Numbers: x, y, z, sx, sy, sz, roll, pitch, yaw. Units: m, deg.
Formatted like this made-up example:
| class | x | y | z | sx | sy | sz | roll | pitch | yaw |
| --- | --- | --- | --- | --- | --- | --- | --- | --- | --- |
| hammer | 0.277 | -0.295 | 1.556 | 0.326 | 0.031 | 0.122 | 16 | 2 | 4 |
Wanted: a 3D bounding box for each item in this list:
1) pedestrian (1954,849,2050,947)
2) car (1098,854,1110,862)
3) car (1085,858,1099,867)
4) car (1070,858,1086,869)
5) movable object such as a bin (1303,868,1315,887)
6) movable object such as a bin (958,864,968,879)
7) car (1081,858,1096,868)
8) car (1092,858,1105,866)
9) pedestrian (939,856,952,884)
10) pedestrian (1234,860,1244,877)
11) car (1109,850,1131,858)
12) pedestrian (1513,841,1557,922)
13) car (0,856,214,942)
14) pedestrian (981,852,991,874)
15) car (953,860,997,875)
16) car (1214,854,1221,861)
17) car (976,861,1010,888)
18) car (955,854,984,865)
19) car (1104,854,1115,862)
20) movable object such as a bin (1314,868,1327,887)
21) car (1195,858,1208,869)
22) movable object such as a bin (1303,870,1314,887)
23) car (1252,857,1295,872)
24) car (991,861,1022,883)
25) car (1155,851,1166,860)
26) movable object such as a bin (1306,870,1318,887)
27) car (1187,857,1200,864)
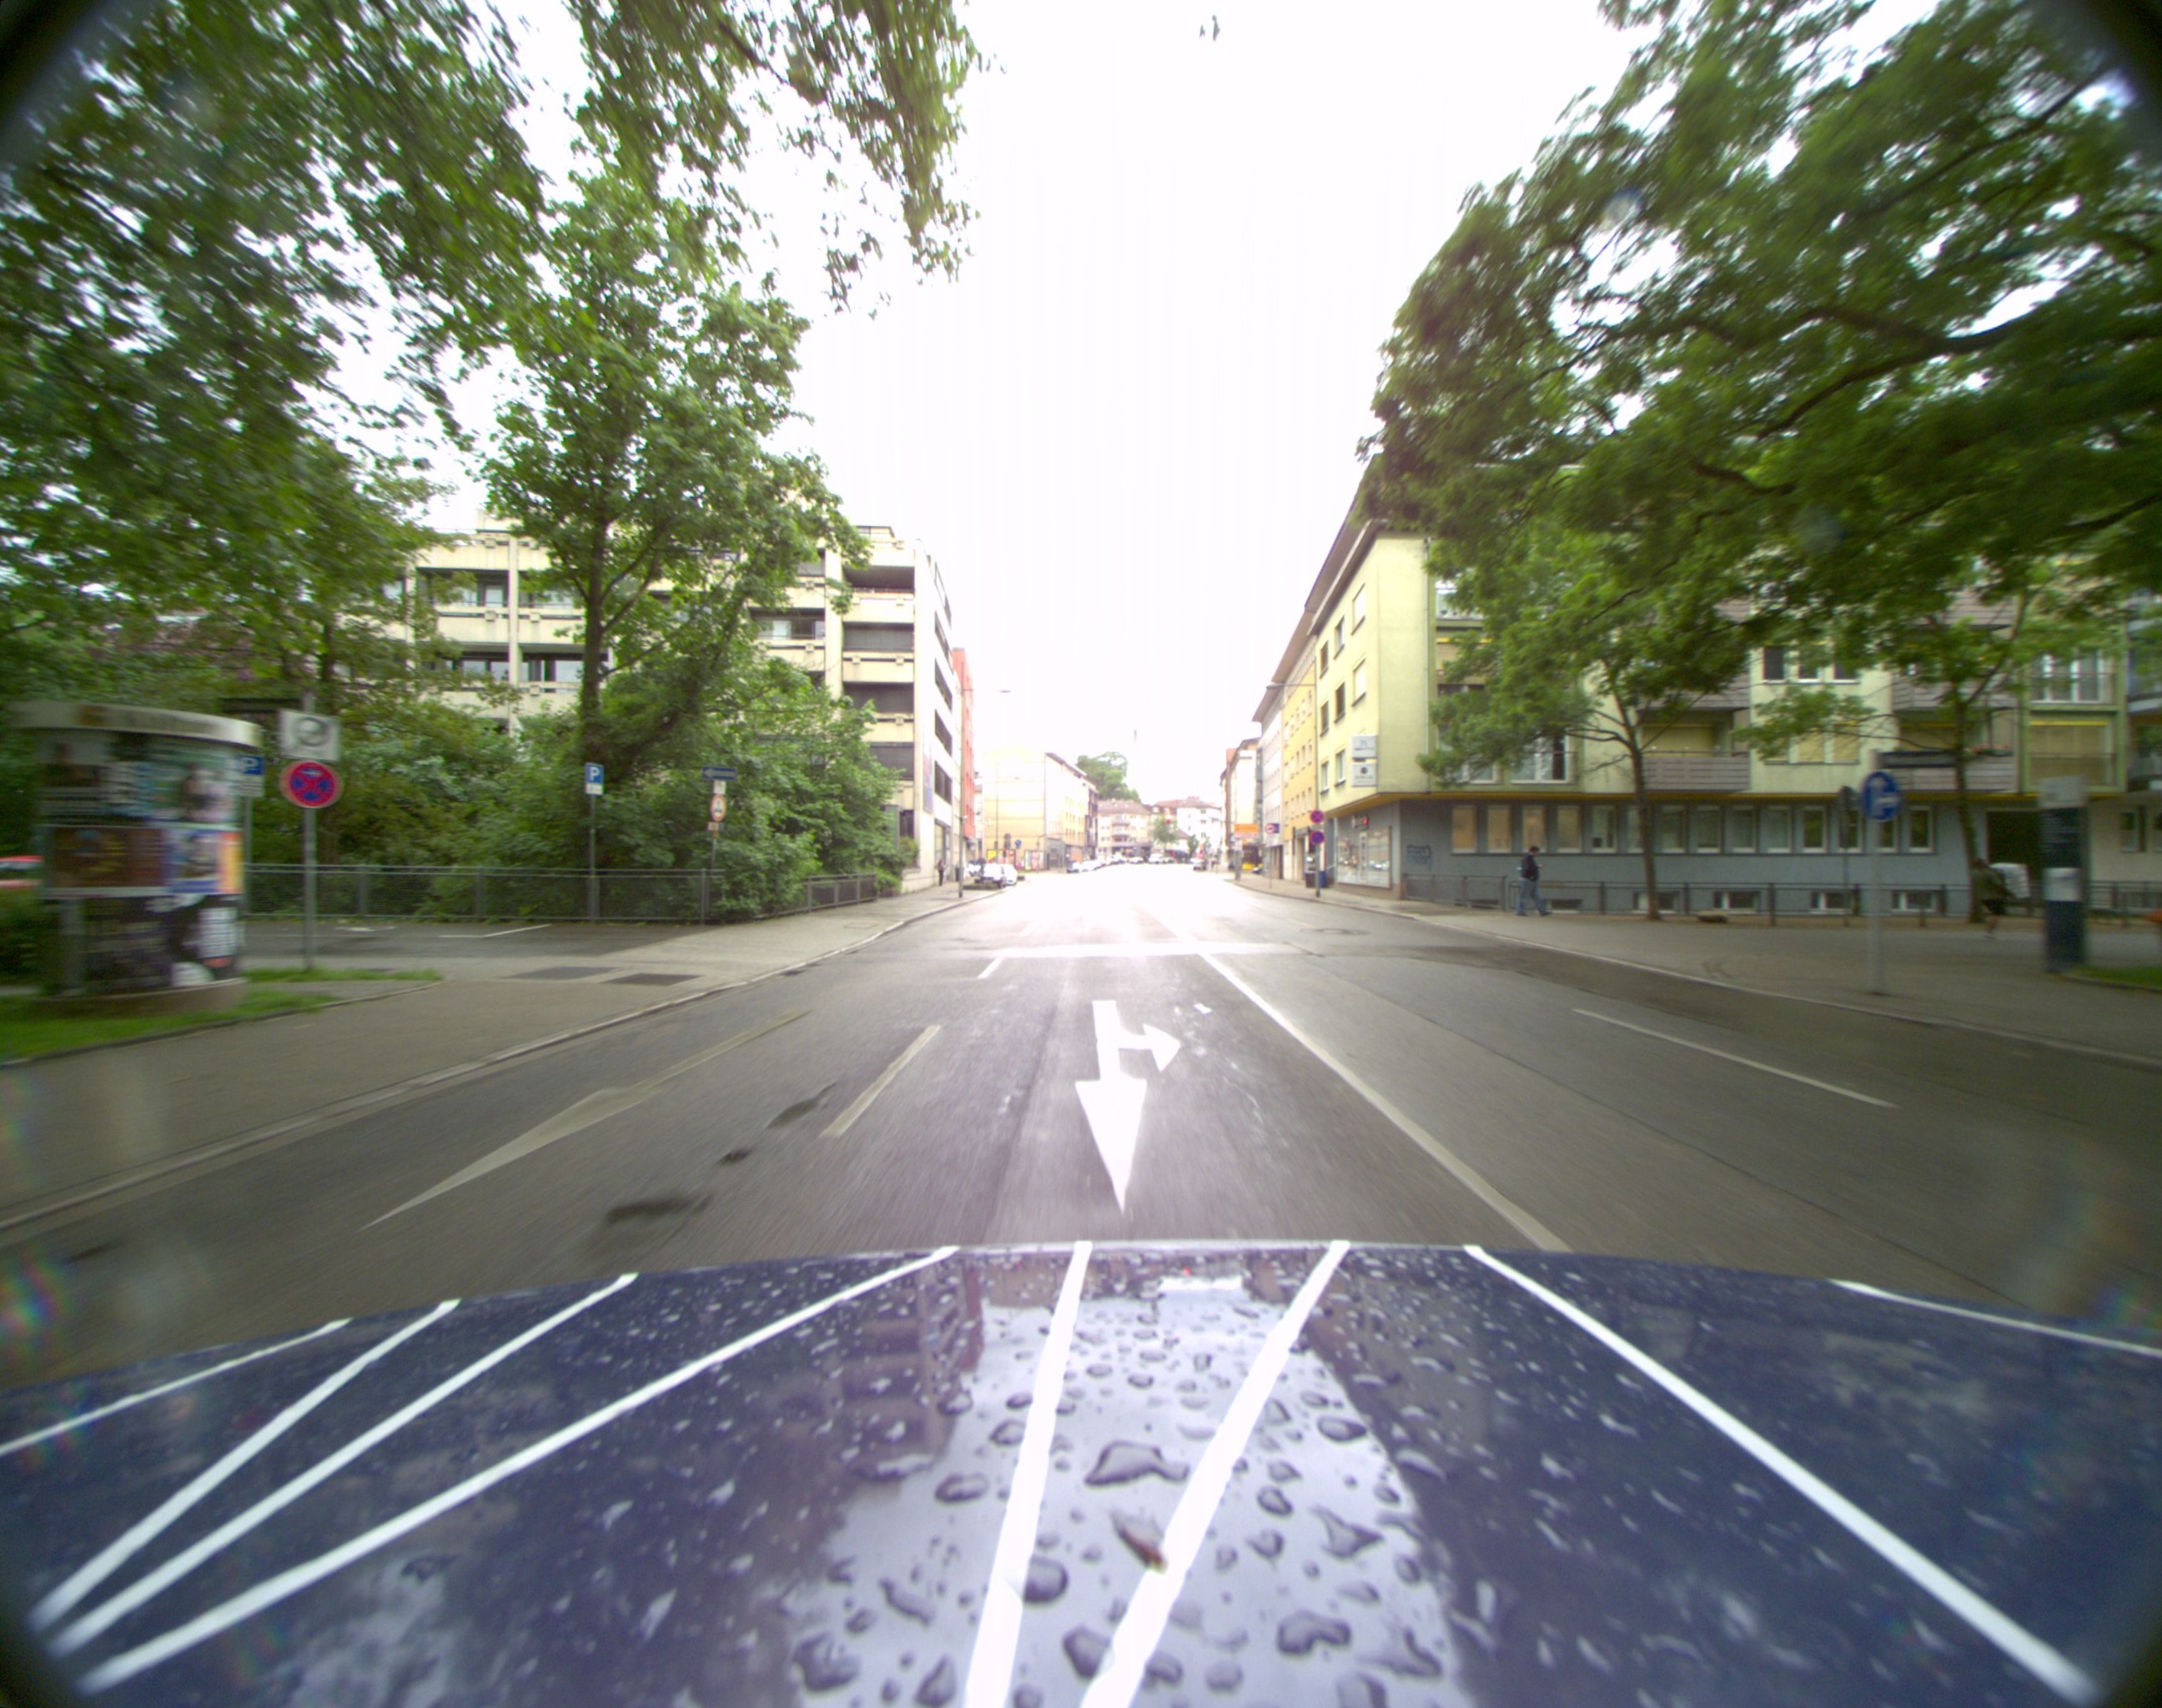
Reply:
| class | x | y | z | sx | sy | sz | roll | pitch | yaw |
| --- | --- | --- | --- | --- | --- | --- | --- | --- | --- |
| pedestrian | 18.467 | 0.863 | 15.258 | 0.918 | 1.913 | 0.820 | 0 | 0 | 6 |
| car | 4.050 | 0.704 | 133.780 | 1.736 | 1.389 | 3.744 | 0 | 0 | 10 |
| car | 1.770 | 1.356 | 120.536 | 1.736 | 1.389 | 3.744 | 0 | 0 | 8 |
| car | -0.440 | 1.308 | 105.536 | 1.736 | 1.389 | 3.744 | 0 | 0 | 8 |
| movable object such as a bin | 12.995 | 1.337 | 43.369 | 0.517 | 0.994 | 0.524 | -4 | 0 | 8 |
| movable object such as a bin | -8.607 | 1.247 | 55.542 | 0.681 | 1.097 | 0.514 | 0 | 0 | -1 |
| car | 1.140 | 1.331 | 113.873 | 1.736 | 1.389 | 3.744 | 0 | 0 | 8 |
| car | 2.941 | 1.304 | 125.515 | 1.736 | 1.389 | 3.744 | 0 | 0 | 8 |
| pedestrian | -8.037 | 0.950 | 45.113 | 0.599 | 1.650 | 0.691 | 3 | 0 | -7 |
| pedestrian | 15.306 | 1.410 | 73.525 | 0.785 | 1.578 | 0.674 | -2 | -1 | 21 |
| car | 8.414 | 0.004 | 165.144 | 2.038 | 1.521 | 4.894 | 0 | 0 | -40 |
| pedestrian | 11.576 | 0.675 | 19.367 | 0.754 | 2.002 | 0.780 | 0 | 0 | -43 |
| car | -19.785 | 0.821 | 14.545 | 3.999 | 1.473 | 1.875 | 1 | 1 | -5 |
| pedestrian | -9.470 | 0.907 | 75.864 | 0.806 | 2.140 | 0.737 | 0 | 0 | -23 |
| car | -12.037 | 1.499 | 86.522 | 4.687 | 1.559 | 1.758 | -2 | 0 | 2 |
| car | 33.446 | 0.840 | 186.097 | 1.591 | 1.518 | 3.492 | 0 | 0 | 14 |
| car | -5.333 | 1.201 | 46.520 | 1.706 | 1.549 | 3.805 | 1 | 0 | -1 |
| car | -16.733 | 0.854 | 114.083 | 3.783 | 1.701 | 1.842 | 0 | 0 | 20 |
| car | 5.319 | 0.704 | 142.870 | 1.736 | 1.389 | 3.744 | 0 | 0 | 8 |
| movable object such as a bin | 12.967 | 1.280 | 41.082 | 0.529 | 0.955 | 0.435 | -4 | 0 | 8 |
| car | 18.065 | 1.352 | 114.114 | 1.834 | 1.612 | 4.003 | 0 | 0 | 10 |
| movable object such as a bin | 12.784 | 1.381 | 42.686 | 0.465 | 0.922 | 0.428 | -4 | 0 | 8 |
| car | 22.408 | 1.169 | 88.586 | 4.560 | 1.559 | 1.758 | -2 | 0 | 4 |
| car | -5.170 | 1.251 | 53.138 | 1.835 | 1.412 | 4.570 | 1 | 0 | -1 |
| car | 16.907 | 0.368 | 160.921 | 2.015 | 1.753 | 4.767 | 1 | 0 | 10 |
| movable object such as a bin | 12.806 | 1.350 | 42.083 | 0.529 | 0.922 | 0.426 | -4 | 0 | 8 |
| car | 27.602 | 1.636 | 186.685 | 1.747 | 1.754 | 4.061 | 1 | 0 | 30 |
